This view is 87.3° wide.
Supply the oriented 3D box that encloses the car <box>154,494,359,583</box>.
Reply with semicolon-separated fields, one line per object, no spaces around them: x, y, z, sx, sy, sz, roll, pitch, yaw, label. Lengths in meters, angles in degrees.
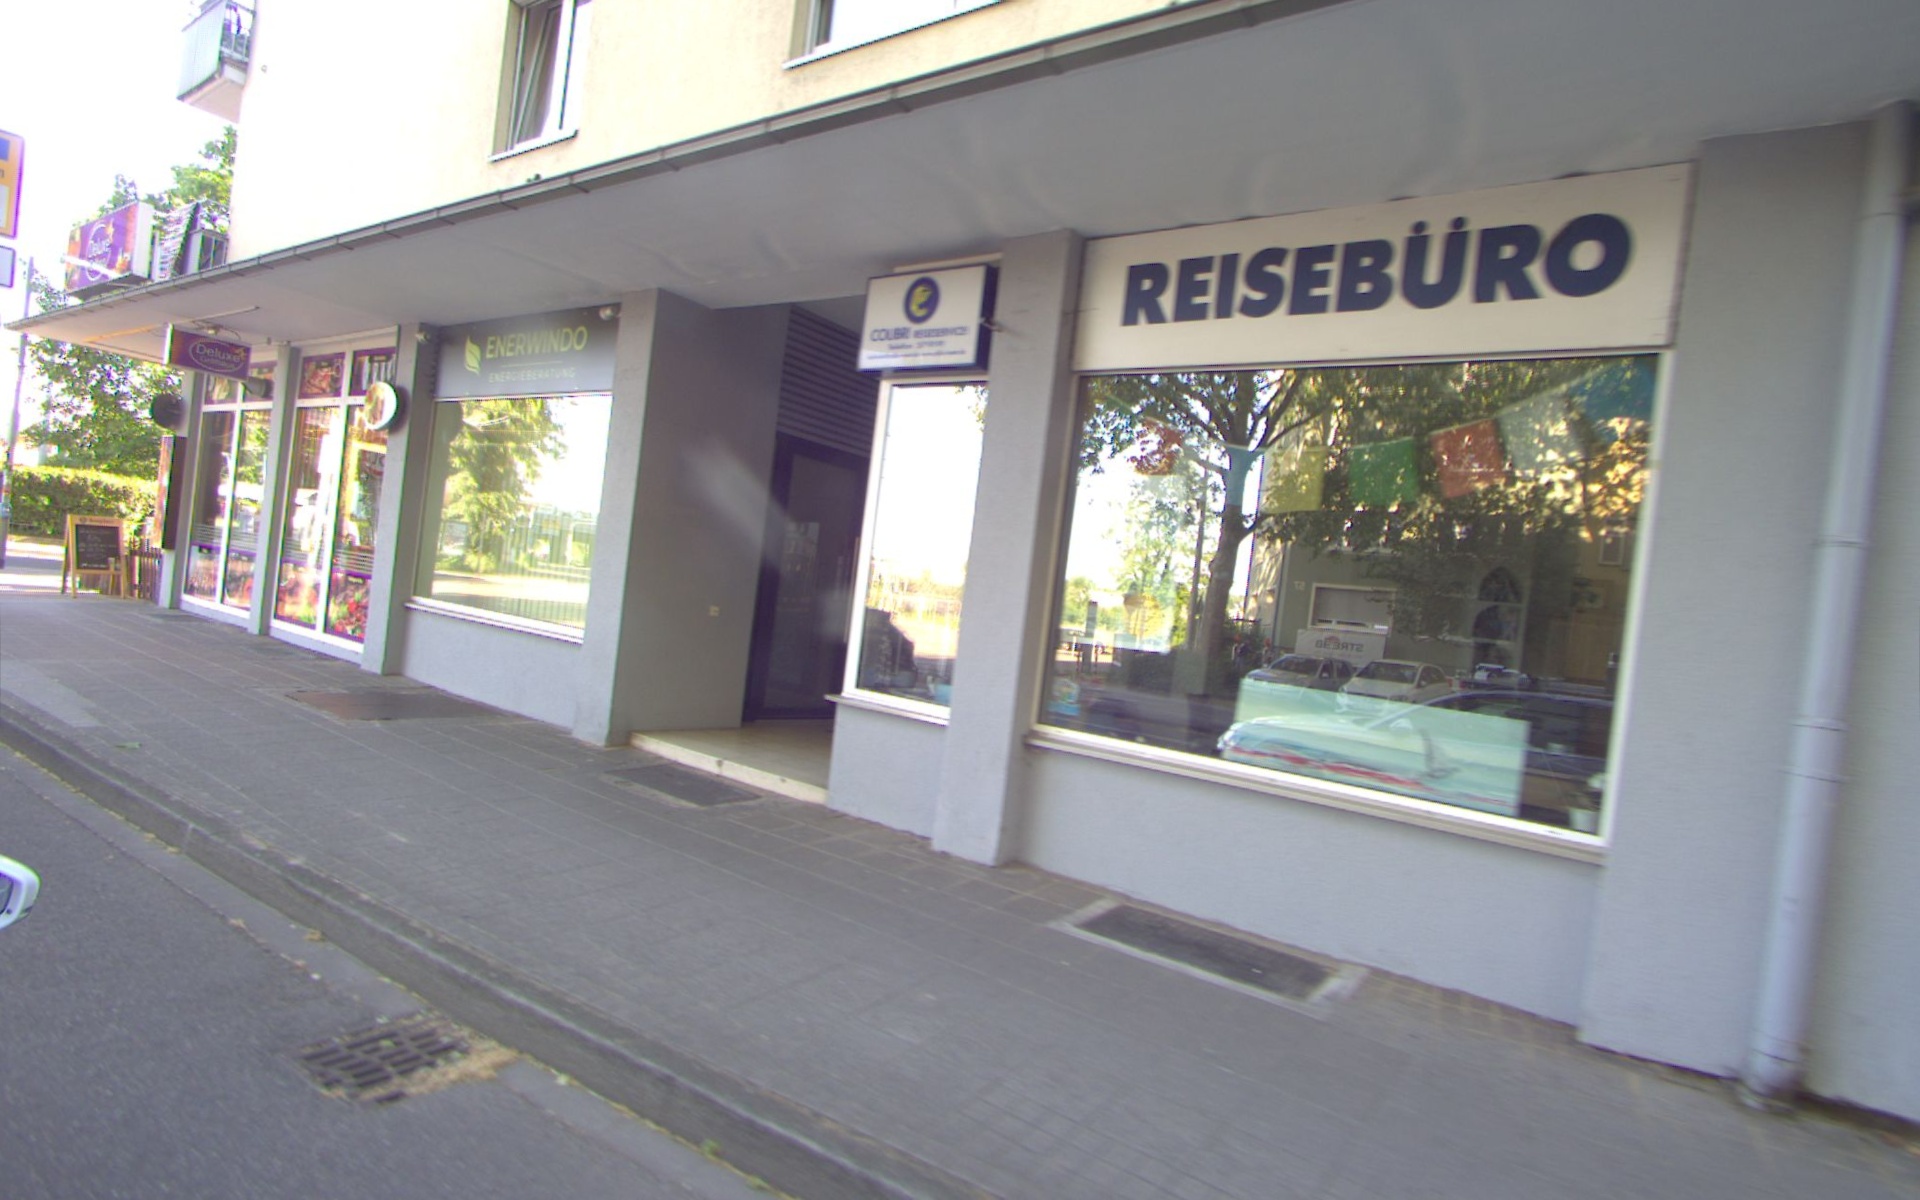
-19.106;-1.609;27.459;1.781;1.835;4.172;3;-3;39;car
